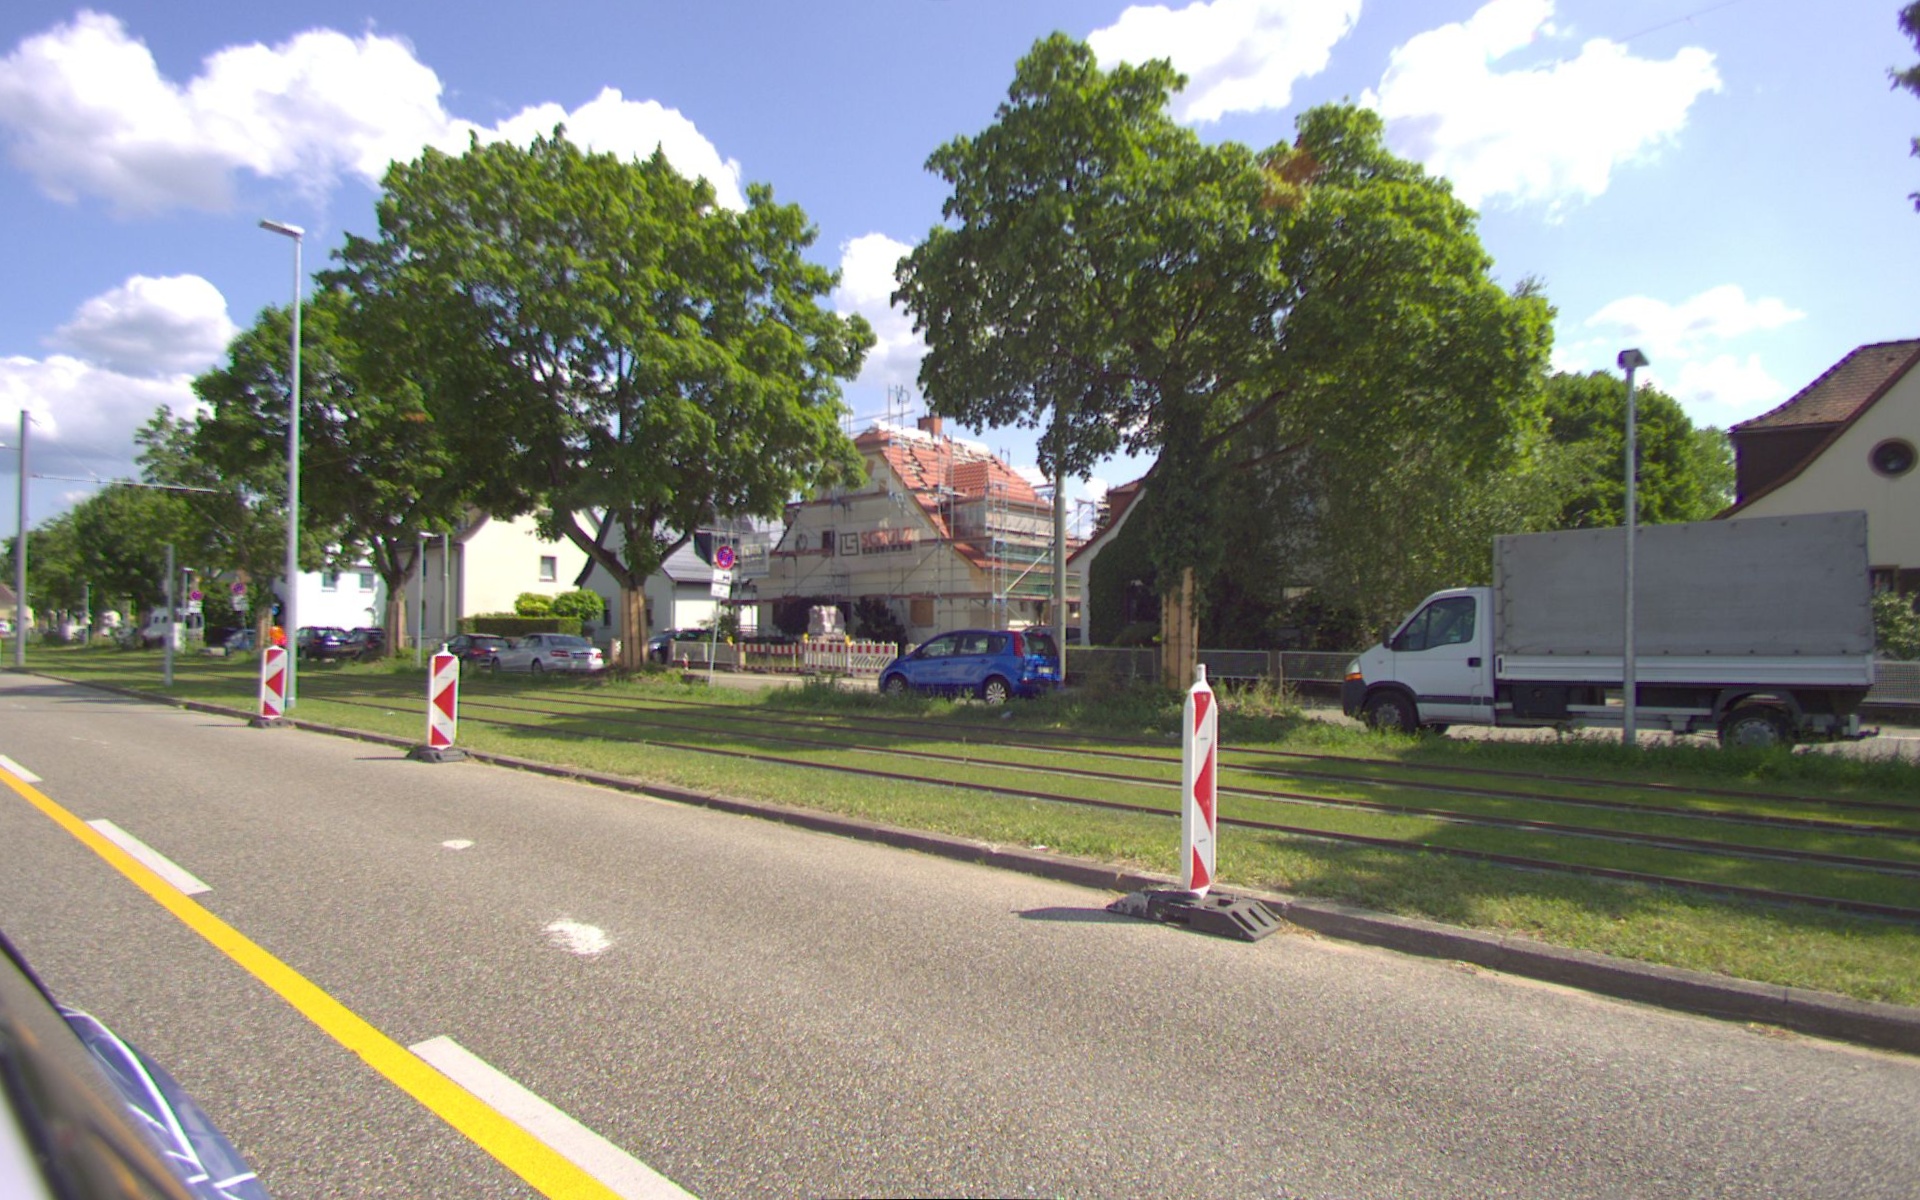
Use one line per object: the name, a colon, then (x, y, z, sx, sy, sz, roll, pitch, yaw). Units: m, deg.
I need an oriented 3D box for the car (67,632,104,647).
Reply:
car: (-72.040, 3.242, 83.346, 3.834, 1.101, 1.762, -1, -3, 41)

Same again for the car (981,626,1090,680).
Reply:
car: (2.571, 1.751, 33.740, 1.872, 1.697, 3.610, -1, -3, 40)

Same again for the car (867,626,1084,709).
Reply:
car: (0.260, 1.294, 20.328, 3.996, 1.464, 1.974, -1, -3, 39)

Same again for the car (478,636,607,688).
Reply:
car: (-13.324, 1.924, 32.132, 4.937, 1.494, 1.786, -1, -3, 42)

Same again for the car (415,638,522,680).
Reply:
car: (-17.294, 2.056, 35.568, 3.850, 1.328, 1.973, -1, -5, 41)

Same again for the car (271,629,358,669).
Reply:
car: (-29.565, 2.225, 46.340, 4.385, 1.704, 1.974, -1, -3, 38)

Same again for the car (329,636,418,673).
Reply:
car: (-24.706, 2.279, 42.607, 3.998, 1.450, 1.973, -1, -4, 41)

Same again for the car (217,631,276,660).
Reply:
car: (-37.268, 2.363, 52.864, 3.889, 1.447, 1.735, -1, -3, 43)

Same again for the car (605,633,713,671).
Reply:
car: (-12.637, 2.149, 42.692, 1.981, 1.412, 3.945, -1, -1, 41)

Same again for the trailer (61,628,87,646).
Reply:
trailer: (-76.119, 3.184, 86.931, 2.280, 1.530, 1.286, -1, -3, 41)

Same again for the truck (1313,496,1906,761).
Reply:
truck: (8.148, 0.448, 13.442, 6.272, 2.789, 1.973, -2, -6, 41)

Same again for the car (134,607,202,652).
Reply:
car: (-50.489, 1.906, 64.451, 6.455, 2.751, 1.974, -2, -3, 39)

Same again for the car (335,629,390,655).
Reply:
car: (-38.718, 2.691, 65.516, 3.998, 1.589, 1.883, -1, -3, 41)
